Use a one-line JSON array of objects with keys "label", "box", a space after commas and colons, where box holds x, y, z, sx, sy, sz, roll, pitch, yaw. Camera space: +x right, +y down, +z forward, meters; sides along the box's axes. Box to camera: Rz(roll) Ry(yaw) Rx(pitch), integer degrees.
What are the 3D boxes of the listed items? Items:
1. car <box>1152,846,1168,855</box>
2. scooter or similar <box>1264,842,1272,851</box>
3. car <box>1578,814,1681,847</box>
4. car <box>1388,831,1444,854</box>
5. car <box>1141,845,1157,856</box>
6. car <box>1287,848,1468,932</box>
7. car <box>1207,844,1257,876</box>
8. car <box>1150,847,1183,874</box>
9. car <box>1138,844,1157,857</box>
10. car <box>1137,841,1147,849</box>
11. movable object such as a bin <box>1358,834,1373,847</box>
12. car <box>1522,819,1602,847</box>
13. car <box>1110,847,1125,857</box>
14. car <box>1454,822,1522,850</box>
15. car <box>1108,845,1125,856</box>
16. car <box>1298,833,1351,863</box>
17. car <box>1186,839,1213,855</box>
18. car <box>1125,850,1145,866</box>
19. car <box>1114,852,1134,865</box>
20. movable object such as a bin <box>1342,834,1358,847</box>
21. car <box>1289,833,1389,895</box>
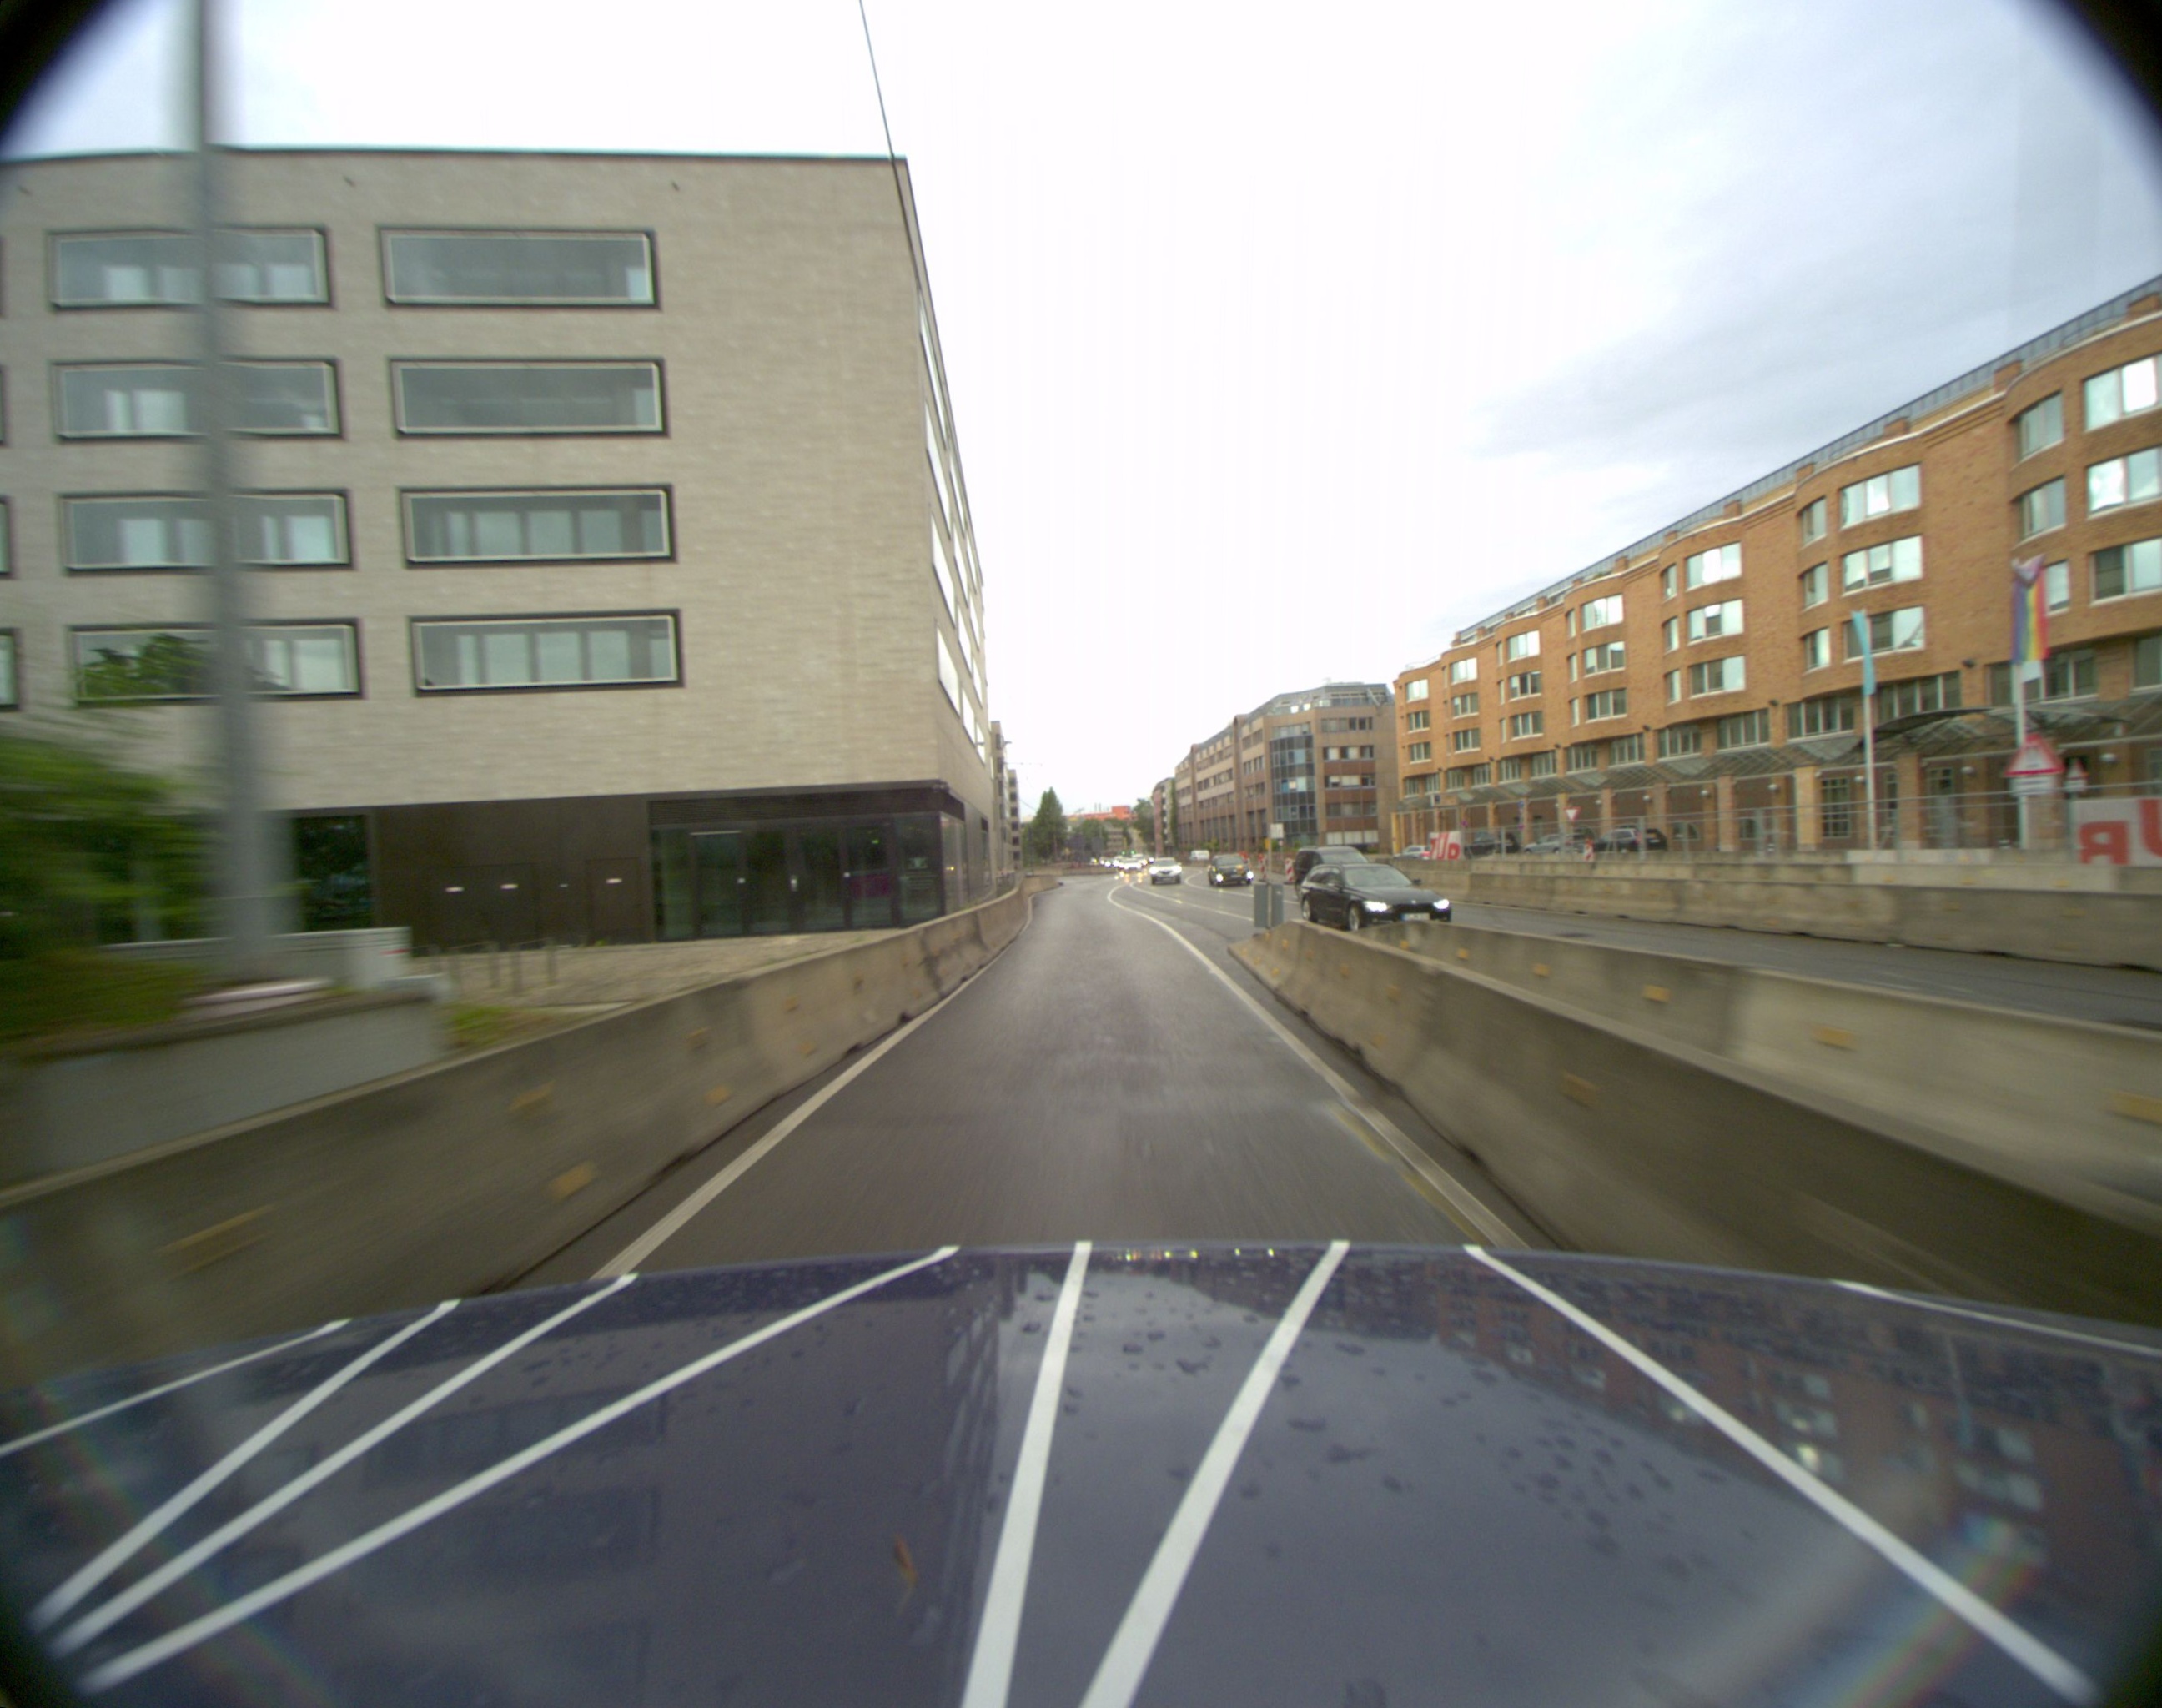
[{"label": "car", "box": [13.927, -0.585, 134.100, 1.999, 1.451, 4.226, -3, 1, -4]}, {"label": "scooter or similar", "box": [23.361, -0.885, 94.741, 0.450, 1.057, 1.043, -3, 1, -14]}, {"label": "car", "box": [31.499, -1.294, 43.865, 1.999, 1.681, 5.048, -3, 0, -3]}, {"label": "car", "box": [23.531, -0.803, 53.614, 1.765, 1.517, 4.362, -2, 0, -4]}, {"label": "car", "box": [10.470, -0.547, 117.560, 1.773, 1.524, 4.654, -3, 0, -4]}, {"label": "car", "box": [6.097, 0.658, 16.310, 1.773, 1.435, 4.654, -3, 0, -3]}, {"label": "car", "box": [7.990, 0.284, 40.598, 1.772, 1.524, 4.356, -3, 0, 1]}, {"label": "car", "box": [5.389, 0.366, 48.252, 1.772, 1.524, 4.657, -3, 0, 3]}, {"label": "car", "box": [8.867, -0.495, 101.062, 1.773, 1.524, 4.654, -3, 0, -4]}, {"label": "car", "box": [14.099, -2.107, 175.937, 1.891, 1.773, 4.876, -3, 0, -1]}, {"label": "movable object such as a bin", "box": [34.129, -1.651, 91.178, 1.246, 1.471, 1.350, -3, 1, -3]}, {"label": "car", "box": [31.188, -1.350, 49.436, 1.999, 1.584, 4.537, -3, 0, -6]}, {"label": "car", "box": [5.916, -0.357, 123.347, 1.773, 1.524, 4.654, -3, 0, -4]}, {"label": "car", "box": [30.340, -1.332, 56.868, 1.999, 1.875, 5.011, -3, 0, -5]}, {"label": "car", "box": [5.099, -0.520, 109.230, 1.773, 1.524, 4.654, -3, 0, -4]}, {"label": "car", "box": [14.900, -0.345, 46.750, 1.998, 1.614, 4.704, -3, 0, 5]}, {"label": "car", "box": [15.351, -0.863, 98.487, 2.000, 1.874, 4.866, -4, 1, -9]}, {"label": "car", "box": [5.746, 0.360, 80.643, 1.771, 1.524, 4.658, -3, 0, 7]}, {"label": "car", "box": [5.167, 0.528, 92.439, 1.773, 1.524, 4.654, -3, 0, -4]}, {"label": "movable object such as a bin", "box": [32.237, -1.602, 91.030, 1.246, 1.471, 1.350, -3, 1, -3]}, {"label": "car", "box": [8.442, 0.276, 25.267, 1.799, 1.790, 4.250, -4, 1, 0]}]
